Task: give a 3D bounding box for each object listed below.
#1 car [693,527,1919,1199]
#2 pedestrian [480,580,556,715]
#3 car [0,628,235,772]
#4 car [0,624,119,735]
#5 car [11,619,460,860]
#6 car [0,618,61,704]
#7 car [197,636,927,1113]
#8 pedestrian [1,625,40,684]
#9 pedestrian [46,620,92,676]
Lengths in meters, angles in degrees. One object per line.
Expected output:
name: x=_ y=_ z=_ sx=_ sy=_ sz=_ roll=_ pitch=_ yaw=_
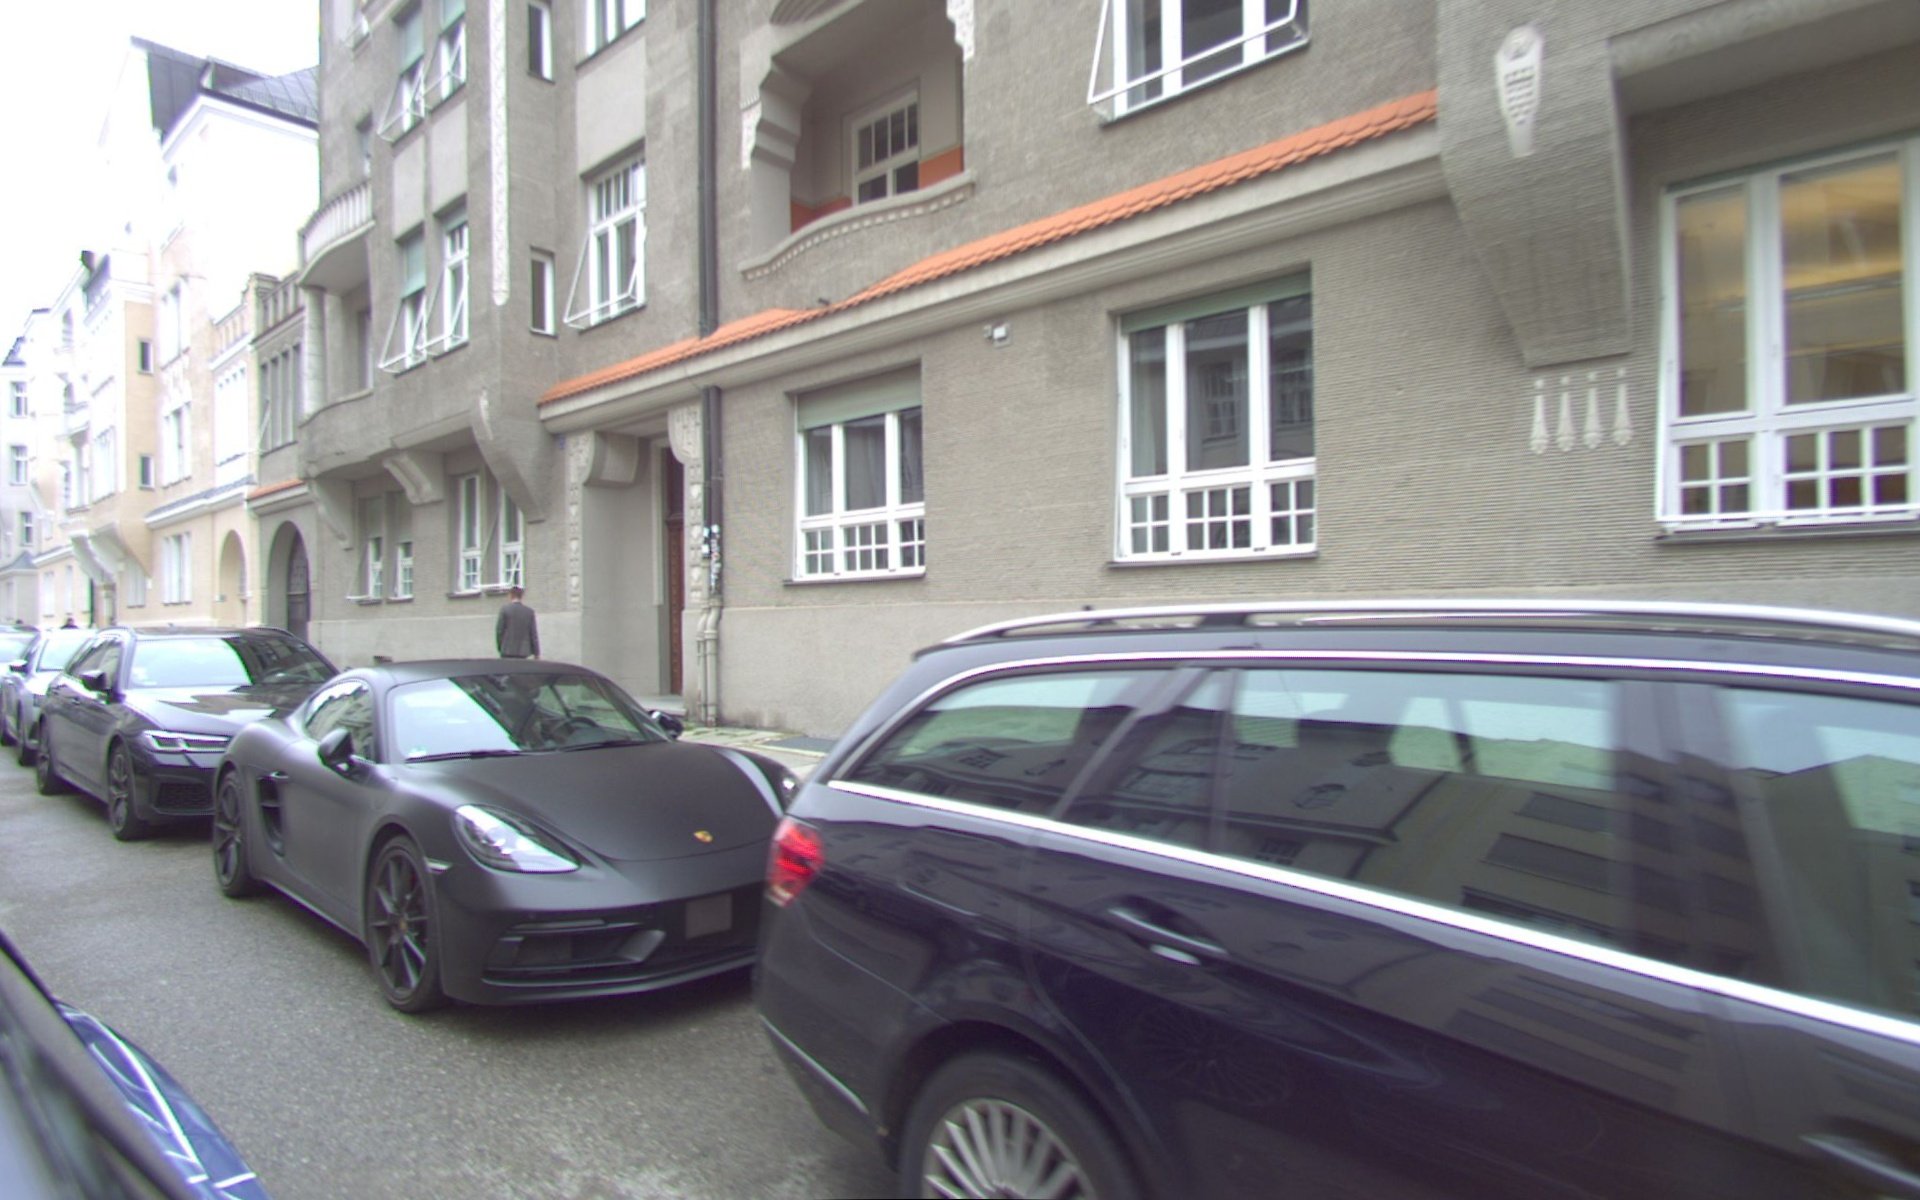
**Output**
car: x=1.636 y=0.689 z=1.547 sx=4.708 sy=1.526 sz=1.736 roll=-2 pitch=-1 yaw=43
pedestrian: x=-6.238 y=0.654 z=14.284 sx=0.730 sy=1.831 sz=0.709 roll=-2 pitch=-1 yaw=40
car: x=-10.484 y=1.082 z=12.352 sx=4.439 sy=1.442 sz=1.786 roll=-2 pitch=-3 yaw=43
car: x=-14.814 y=1.163 z=15.788 sx=4.604 sy=1.525 sz=1.818 roll=-2 pitch=-2 yaw=40
car: x=-6.290 y=0.924 z=8.547 sx=4.775 sy=1.459 sz=1.973 roll=-2 pitch=-1 yaw=40
car: x=-19.373 y=1.182 z=20.026 sx=3.810 sy=1.584 sz=1.785 roll=-2 pitch=-1 yaw=39
car: x=-2.234 y=0.874 z=4.998 sx=4.096 sy=1.341 sz=1.736 roll=-2 pitch=-1 yaw=42
pedestrian: x=-29.665 y=1.701 z=31.944 sx=0.740 sy=1.803 sz=0.826 roll=-2 pitch=-1 yaw=41
pedestrian: x=-28.375 y=1.507 z=32.222 sx=0.939 sy=1.742 sz=0.982 roll=-2 pitch=-1 yaw=41
